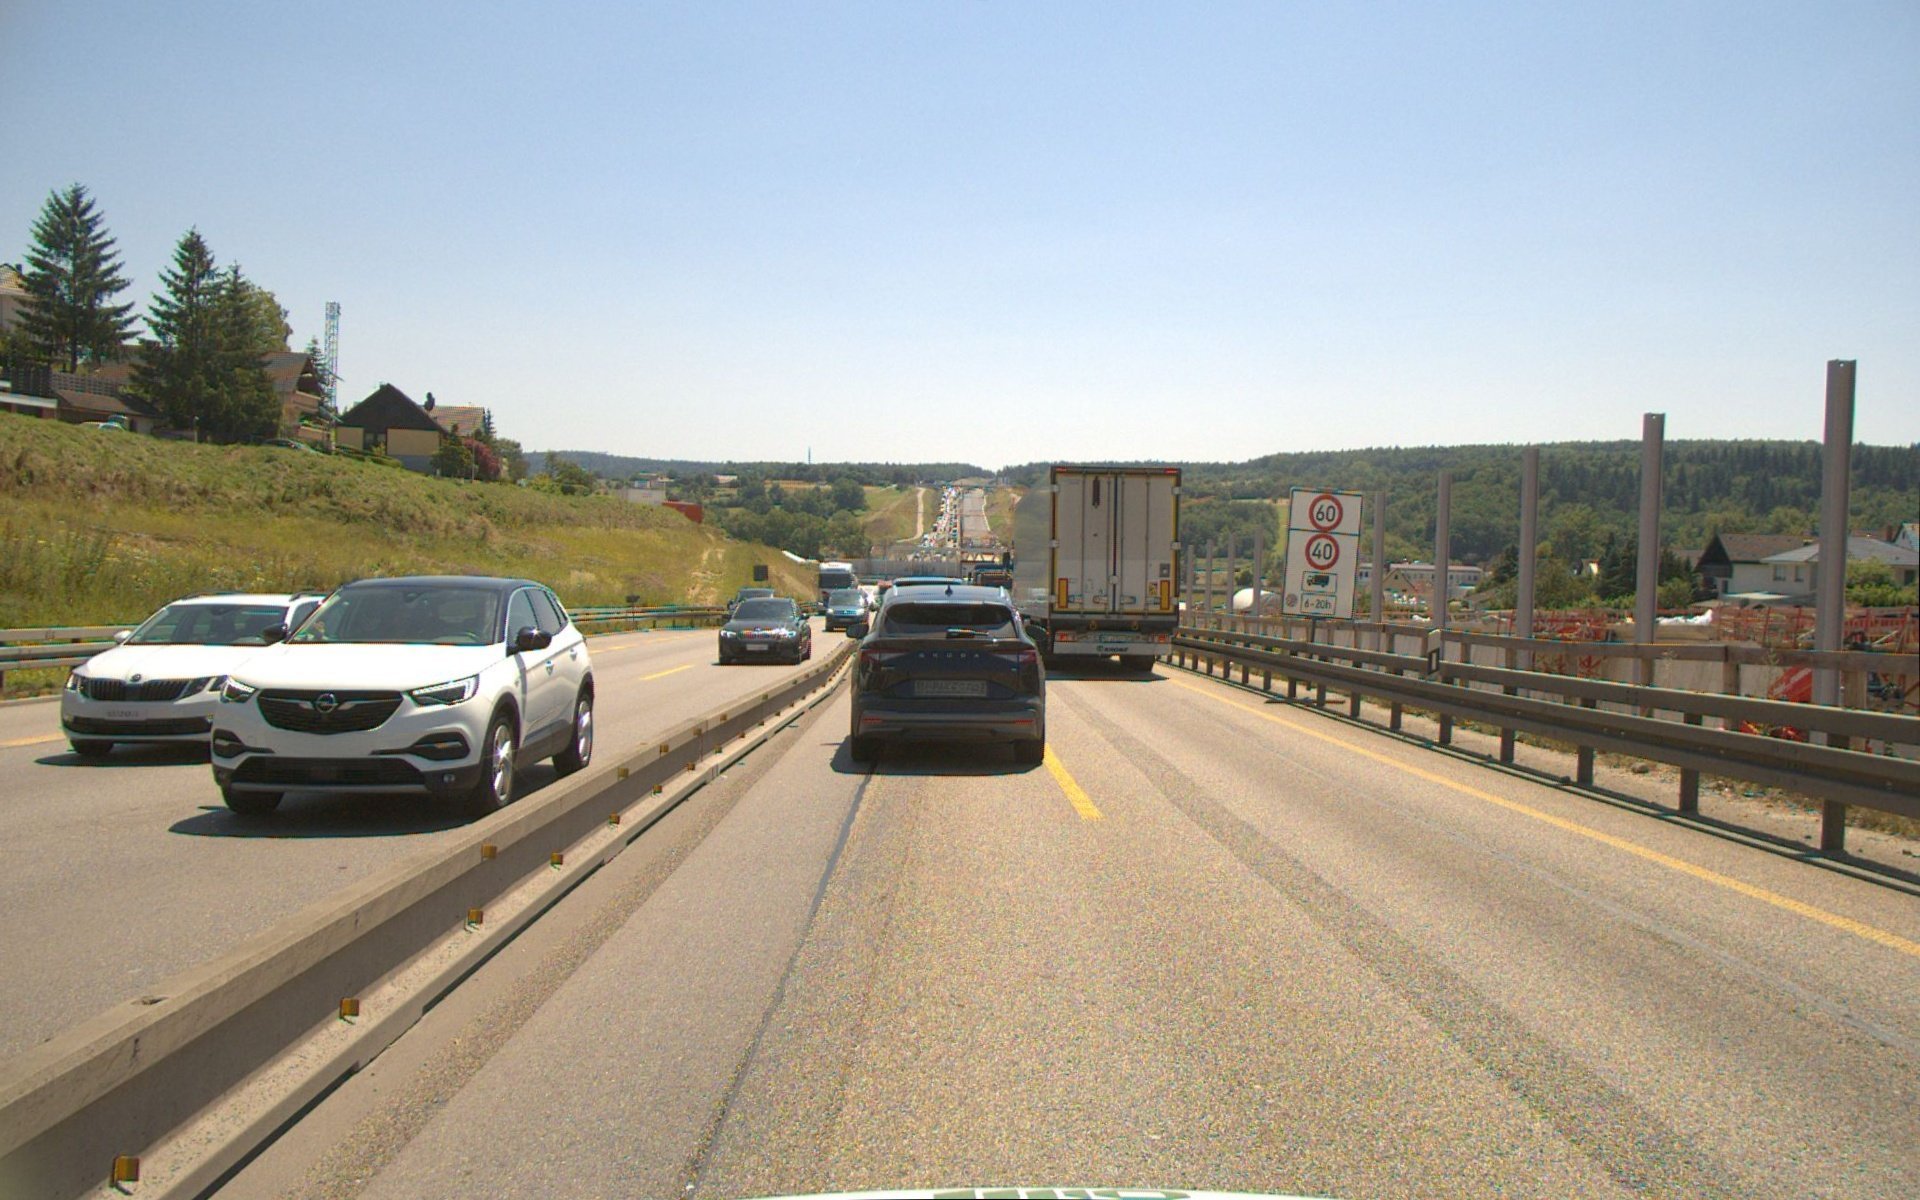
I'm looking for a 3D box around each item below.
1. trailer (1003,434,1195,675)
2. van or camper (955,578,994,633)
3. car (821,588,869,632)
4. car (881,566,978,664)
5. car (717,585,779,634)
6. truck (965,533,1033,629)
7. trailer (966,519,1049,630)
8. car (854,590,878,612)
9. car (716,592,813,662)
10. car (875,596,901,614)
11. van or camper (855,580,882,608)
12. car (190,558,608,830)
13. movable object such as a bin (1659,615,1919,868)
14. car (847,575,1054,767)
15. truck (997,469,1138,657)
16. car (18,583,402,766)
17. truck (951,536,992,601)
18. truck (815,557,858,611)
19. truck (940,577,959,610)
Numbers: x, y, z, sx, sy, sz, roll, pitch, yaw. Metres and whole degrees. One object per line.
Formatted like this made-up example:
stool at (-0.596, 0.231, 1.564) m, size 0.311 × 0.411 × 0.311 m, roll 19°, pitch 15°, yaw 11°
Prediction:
trailer at (2.848, -0.919, 38.385) m, size 3.116 × 4.592 × 13.106 m, roll 1°, pitch 0°, yaw -1°
van or camper at (0.937, 0.393, 103.203) m, size 2.339 × 3.338 × 6.469 m, roll 0°, pitch -1°, yaw 1°
car at (-4.933, 0.412, 71.271) m, size 1.808 × 1.809 × 4.881 m, roll 0°, pitch 0°, yaw -1°
car at (-0.663, 0.351, 35.878) m, size 1.953 × 1.959 × 4.506 m, roll 1°, pitch -1°, yaw -1°
car at (-7.890, 0.338, 61.862) m, size 1.791 × 1.797 × 4.496 m, roll 0°, pitch 0°, yaw -1°
truck at (1.894, -0.836, 83.723) m, size 3.116 × 4.592 × 8.163 m, roll 1°, pitch -1°, yaw -1°
trailer at (2.027, -0.948, 76.712) m, size 3.116 × 4.592 × 14.962 m, roll 1°, pitch -1°, yaw -1°
car at (-8.913, 0.077, 157.266) m, size 1.953 × 2.005 × 5.342 m, roll 0°, pitch 0°, yaw -1°
car at (-4.404, 0.585, 37.775) m, size 1.761 × 1.492 × 4.354 m, roll 0°, pitch 0°, yaw -1°
car at (-5.776, 0.415, 133.244) m, size 1.856 × 1.439 × 4.678 m, roll 0°, pitch 0°, yaw 0°
van or camper at (-9.023, -0.600, 163.858) m, size 2.309 × 2.723 × 7.856 m, roll 0°, pitch 0°, yaw -1°
car at (-3.890, 0.577, 12.266) m, size 1.770 × 1.668 × 4.171 m, roll 0°, pitch 0°, yaw -2°
movable object such as a bin at (19.102, 2.801, 36.475) m, size 3.162 × 4.826 × 9.652 m, roll 1°, pitch -1°, yaw -1°
car at (-0.088, 0.627, 16.220) m, size 1.765 × 1.636 × 3.999 m, roll 1°, pitch -1°, yaw 0°
truck at (2.751, -0.939, 44.838) m, size 3.116 × 4.592 × 8.164 m, roll 1°, pitch 0°, yaw -1°
car at (-7.051, 0.619, 16.147) m, size 1.767 × 1.523 × 4.598 m, roll 0°, pitch 0°, yaw -2°
truck at (0.818, -2.301, 128.224) m, size 2.794 × 4.543 × 11.913 m, roll 1°, pitch -1°, yaw -1°
truck at (-8.849, -1.101, 118.908) m, size 2.723 × 3.737 × 6.275 m, roll 1°, pitch 0°, yaw -1°
truck at (-1.503, -0.867, 231.457) m, size 2.586 × 4.267 × 9.281 m, roll 1°, pitch -1°, yaw -1°
